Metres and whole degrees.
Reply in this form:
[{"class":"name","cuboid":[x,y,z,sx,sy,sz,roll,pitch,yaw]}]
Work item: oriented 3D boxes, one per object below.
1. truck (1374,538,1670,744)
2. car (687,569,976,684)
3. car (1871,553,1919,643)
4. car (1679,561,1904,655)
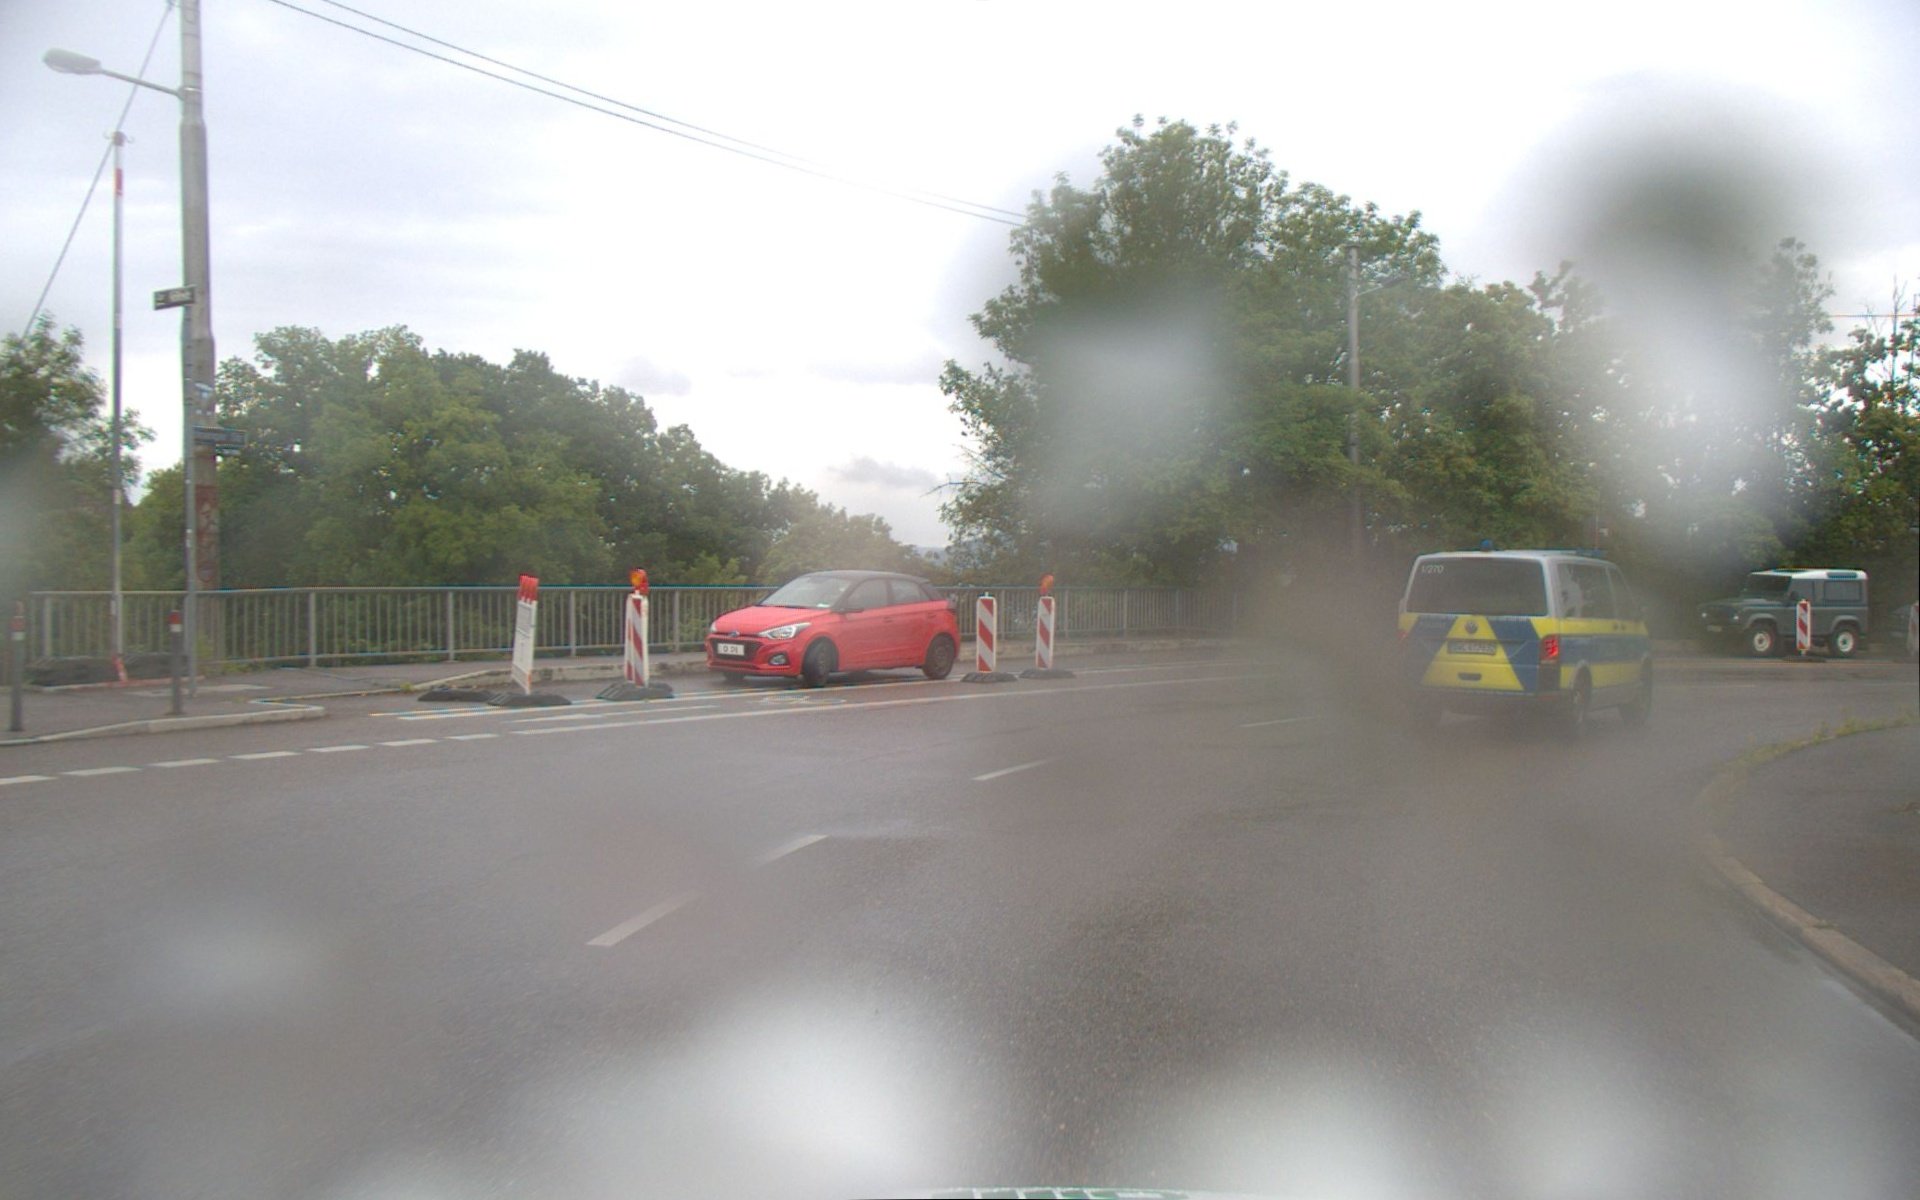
[{"class":"truck","cuboid":[6.582,0.412,19.003,1.960,2.049,4.717,1,0,35]},{"class":"car","cuboid":[-1.674,0.340,22.808,1.658,1.422,4.118,1,0,38]},{"class":"car","cuboid":[24.737,0.021,39.461,4.833,2.048,2.000,2,3,-1]},{"class":"car","cuboid":[19.488,0.179,38.778,4.722,2.048,1.863,1,2,-18]}]
